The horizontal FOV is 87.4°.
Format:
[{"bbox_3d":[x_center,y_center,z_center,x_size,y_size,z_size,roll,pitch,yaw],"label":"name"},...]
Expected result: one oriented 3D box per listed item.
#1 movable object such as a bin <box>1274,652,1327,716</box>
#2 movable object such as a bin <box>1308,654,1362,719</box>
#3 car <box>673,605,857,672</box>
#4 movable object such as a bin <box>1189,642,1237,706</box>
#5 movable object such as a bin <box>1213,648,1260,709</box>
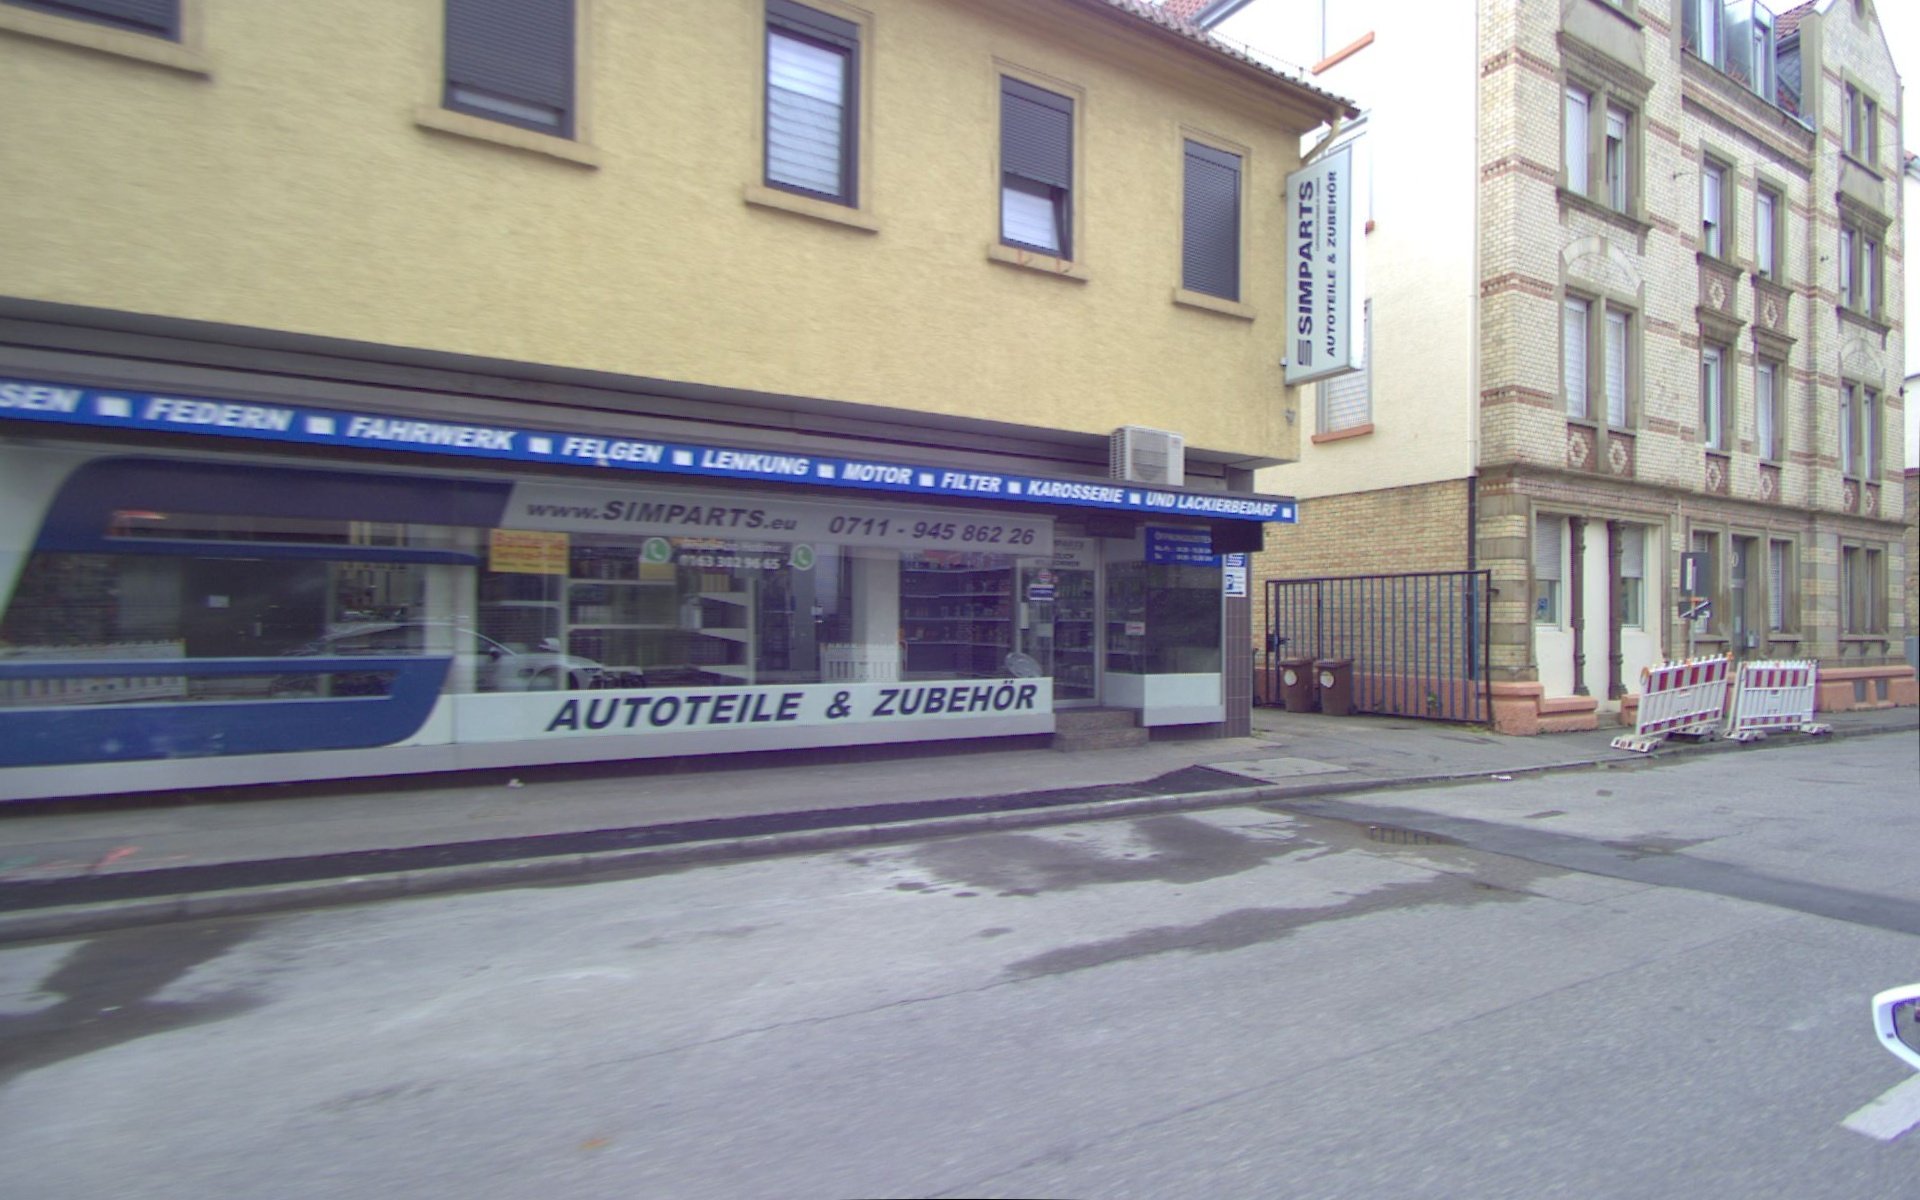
[{"bbox_3d":[5.846,1.438,17.258,0.605,1.049,0.590,2,-1,-28],"label":"movable object such as a bin"},{"bbox_3d":[6.231,1.424,16.688,0.605,1.049,0.590,2,-3,-28],"label":"movable object such as a bin"},{"bbox_3d":[-4.588,0.906,23.641,3.945,1.483,1.792,2,-1,-25],"label":"car"},{"bbox_3d":[4.803,1.398,19.085,0.653,1.172,0.584,2,-1,-29],"label":"movable object such as a bin"},{"bbox_3d":[5.107,1.435,18.559,0.605,1.087,0.586,2,-1,-28],"label":"movable object such as a bin"}]
